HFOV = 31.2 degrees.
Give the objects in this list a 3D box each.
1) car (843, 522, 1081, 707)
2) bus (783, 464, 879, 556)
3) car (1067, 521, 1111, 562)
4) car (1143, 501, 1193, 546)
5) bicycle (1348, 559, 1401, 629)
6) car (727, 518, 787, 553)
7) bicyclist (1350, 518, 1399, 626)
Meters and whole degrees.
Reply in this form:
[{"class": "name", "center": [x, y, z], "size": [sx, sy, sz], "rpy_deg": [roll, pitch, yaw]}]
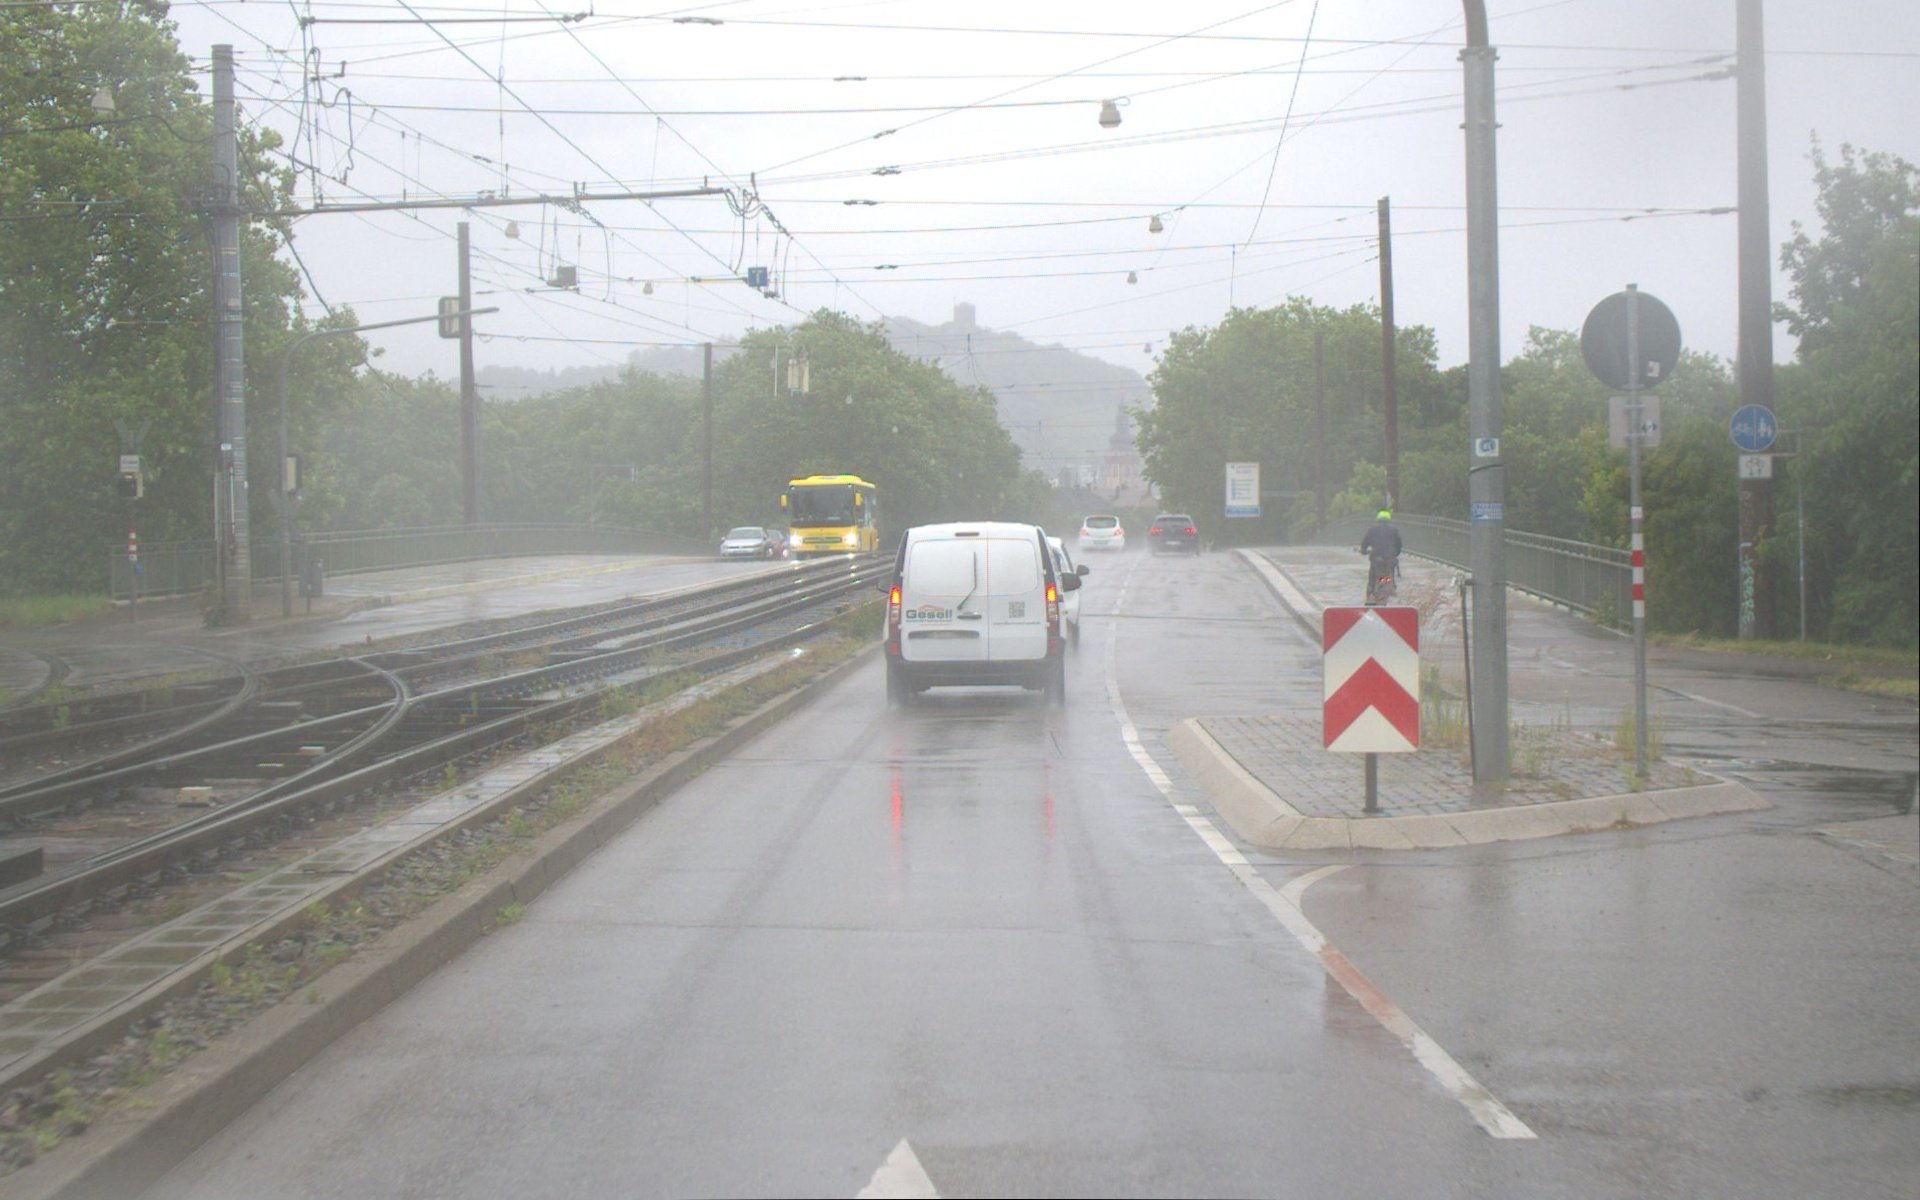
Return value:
[{"class": "car", "center": [0.084, 0.123, 34.671], "size": [1.994, 1.720, 3.999], "rpy_deg": [1, 0, 6]}, {"class": "bus", "center": [-5.085, -3.657, 137.503], "size": [2.708, 3.329, 10.993], "rpy_deg": [-2, 3, 3]}, {"class": "car", "center": [4.792, -2.176, 128.070], "size": [1.451, 1.494, 2.982], "rpy_deg": [1, 0, -1]}, {"class": "car", "center": [7.108, -2.610, 117.681], "size": [1.451, 1.494, 2.982], "rpy_deg": [1, 0, -1]}, {"class": "bicycle", "center": [6.881, -0.111, 57.116], "size": [0.723, 1.125, 2.167], "rpy_deg": [1, 1, 4]}, {"class": "car", "center": [-8.148, -2.609, 138.294], "size": [1.934, 1.227, 4.100], "rpy_deg": [-2, 3, 3]}, {"class": "bicyclist", "center": [6.874, -0.466, 57.099], "size": [0.725, 1.758, 0.949], "rpy_deg": [1, 0, 4]}]
